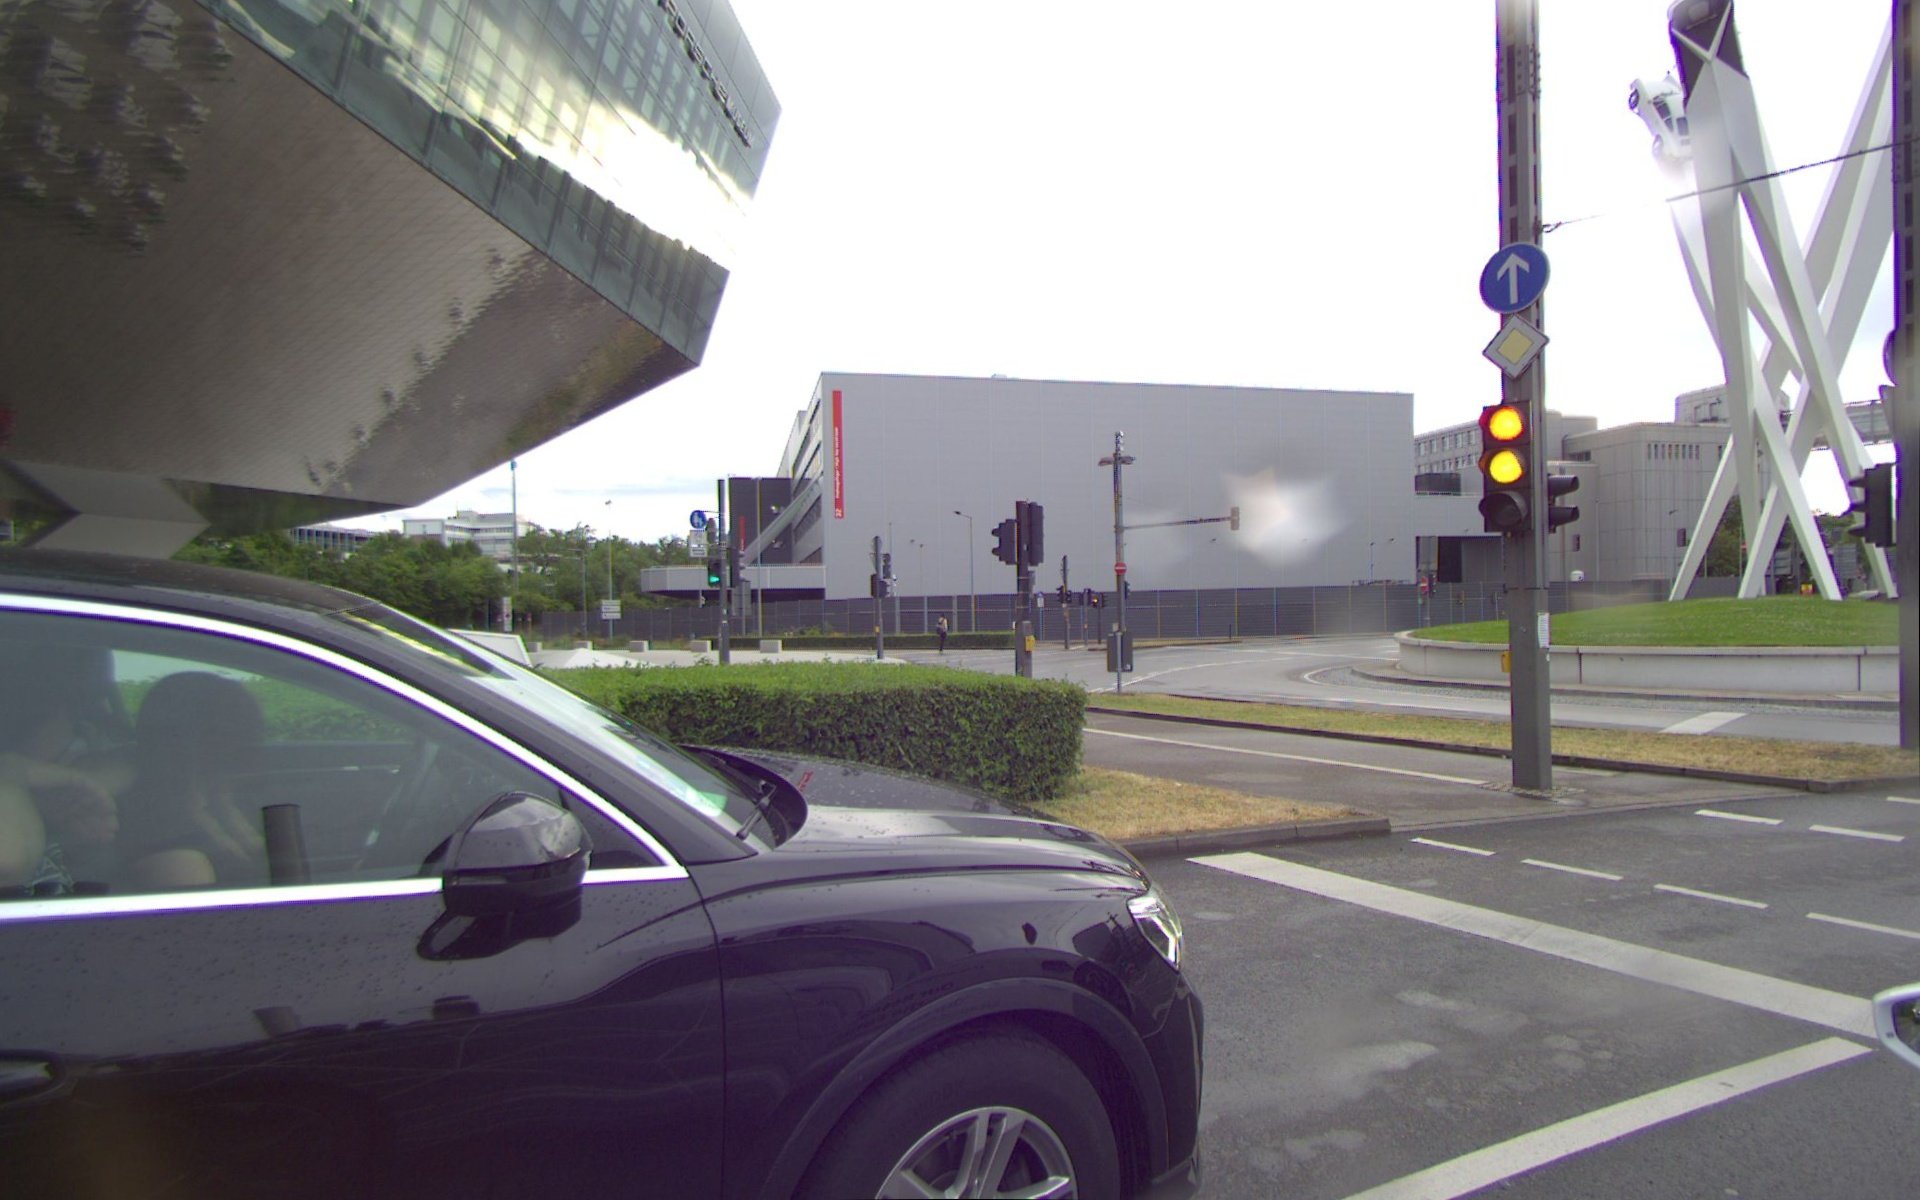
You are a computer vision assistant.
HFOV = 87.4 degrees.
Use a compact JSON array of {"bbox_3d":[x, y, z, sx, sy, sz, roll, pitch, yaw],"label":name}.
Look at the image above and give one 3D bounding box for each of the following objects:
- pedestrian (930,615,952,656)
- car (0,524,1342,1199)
[{"bbox_3d":[-0.878,1.601,45.819,0.638,1.827,0.851,0,0,35],"label":"pedestrian"},{"bbox_3d":[-1.489,0.683,1.799,4.344,1.538,1.743,2,0,-31],"label":"car"}]
